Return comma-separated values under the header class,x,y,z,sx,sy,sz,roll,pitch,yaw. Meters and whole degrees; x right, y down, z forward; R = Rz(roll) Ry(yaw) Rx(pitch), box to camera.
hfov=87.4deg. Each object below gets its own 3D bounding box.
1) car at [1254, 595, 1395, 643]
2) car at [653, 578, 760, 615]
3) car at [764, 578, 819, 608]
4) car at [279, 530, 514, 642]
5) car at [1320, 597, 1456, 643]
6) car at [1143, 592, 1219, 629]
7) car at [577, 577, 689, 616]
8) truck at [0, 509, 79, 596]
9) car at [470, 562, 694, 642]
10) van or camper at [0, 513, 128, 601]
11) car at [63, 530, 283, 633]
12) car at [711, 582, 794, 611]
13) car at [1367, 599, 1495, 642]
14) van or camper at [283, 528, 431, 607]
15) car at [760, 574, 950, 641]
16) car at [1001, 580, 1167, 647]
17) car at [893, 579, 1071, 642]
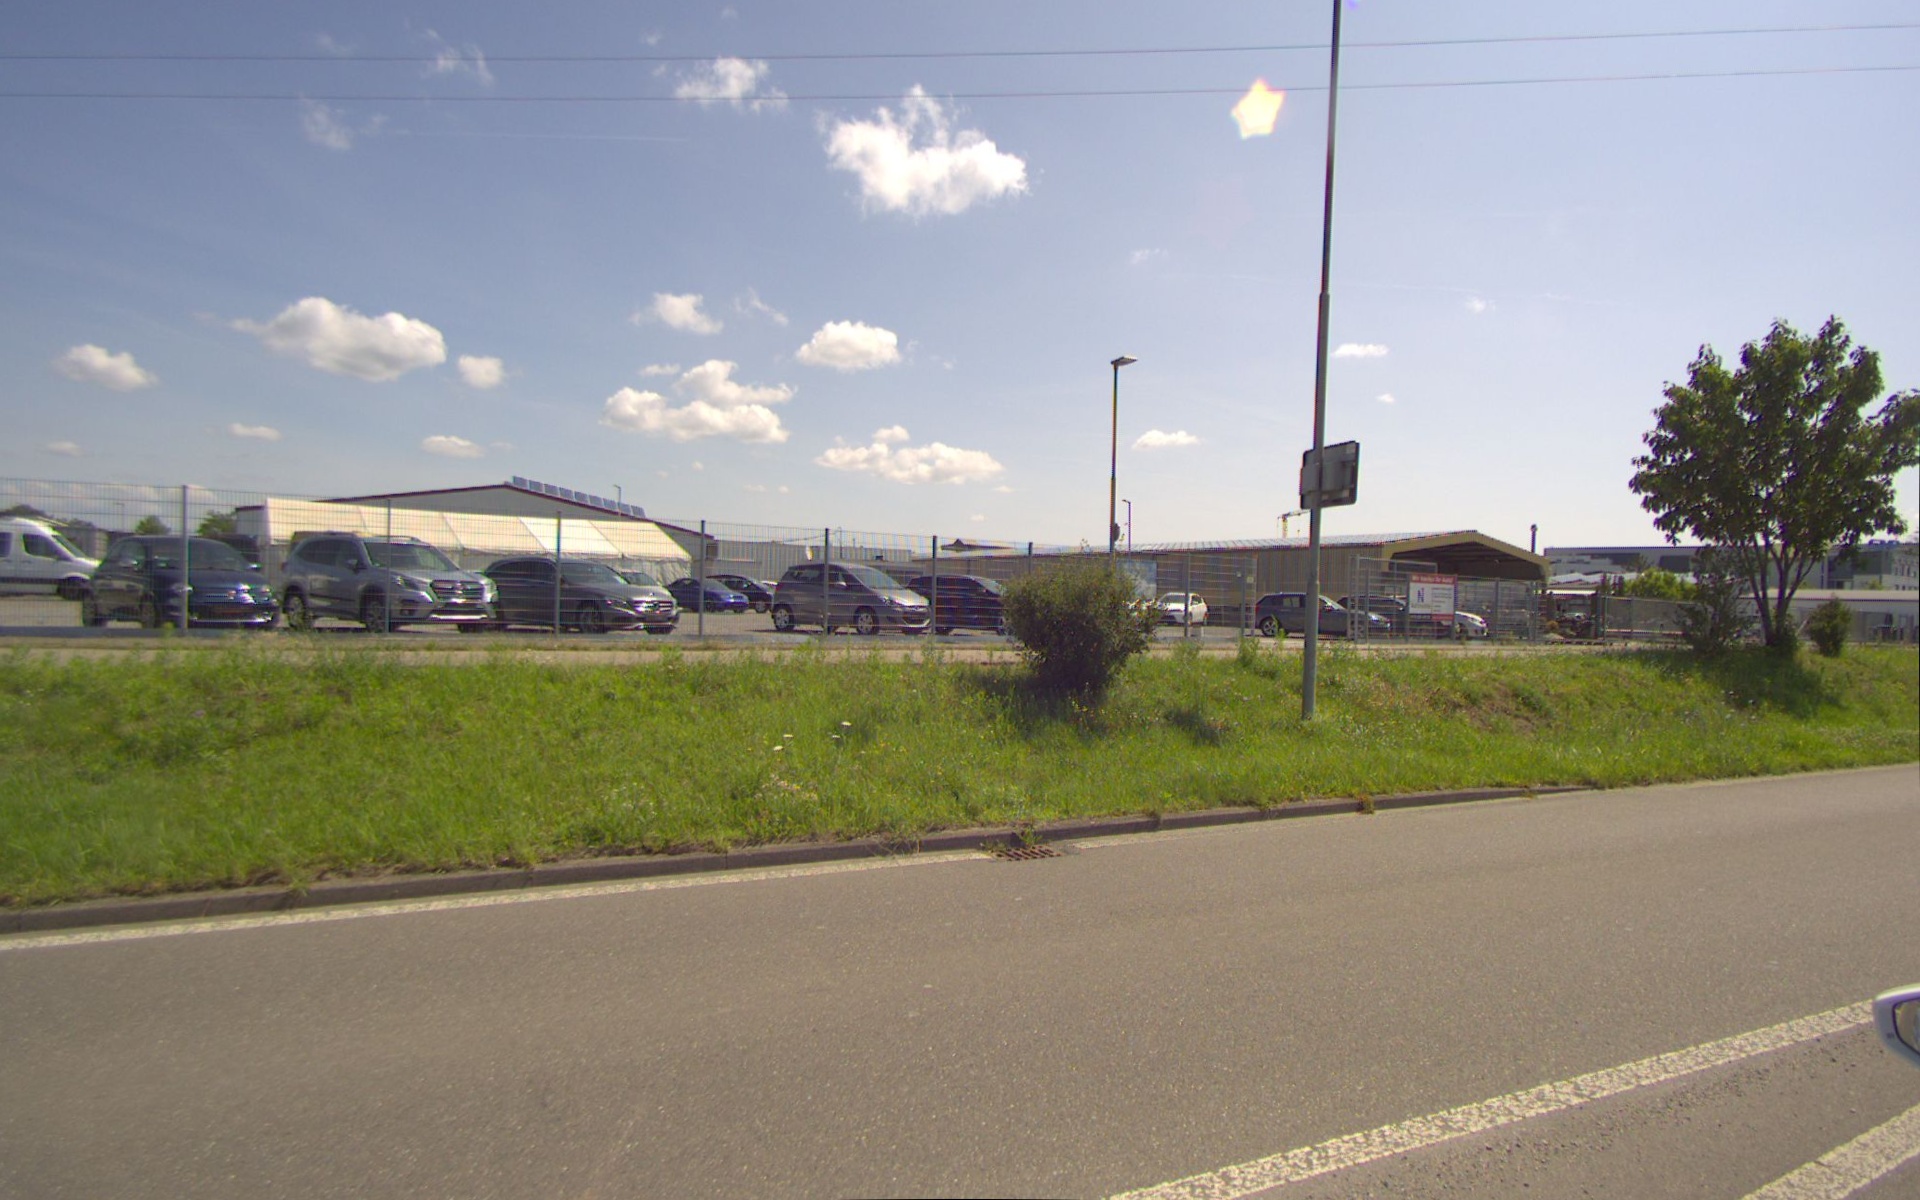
class,x,y,z,sx,sy,sz,roll,pitch,yaw
car,11.604,0.562,32.002,3.929,1.328,1.939,2,1,31
car,-10.188,-0.158,40.277,3.929,1.328,1.939,2,1,31
car,-10.128,-0.432,60.055,1.976,1.717,3.968,1,1,-30
car,-9.712,-0.283,17.263,4.036,1.727,1.720,2,1,31
car,14.253,0.633,33.471,3.929,1.328,1.939,2,1,31
car,9.821,0.454,44.368,1.965,1.506,4.238,2,1,32
car,-12.502,-0.148,38.364,3.929,1.328,1.939,2,1,31
truck,-53.162,-2.665,57.400,2.815,4.578,8.517,1,1,-32
car,-7.202,0.006,19.097,3.929,1.328,1.939,2,1,31
van or camper,-30.456,-1.382,31.278,6.693,2.634,1.983,1,1,-31
car,-12.333,-0.300,15.698,3.512,1.420,1.795,2,1,36
car,-11.227,-0.189,54.452,3.962,1.461,1.863,1,1,-37
car,16.664,0.683,35.576,3.929,1.328,1.939,2,1,31
van or camper,-19.838,-1.085,32.981,5.245,2.407,1.890,2,1,31
car,-2.408,0.137,22.903,3.929,1.328,1.939,2,1,31
car,3.283,0.318,26.761,3.929,1.561,1.939,2,1,31
car,0.521,0.223,24.671,3.931,1.328,1.938,2,1,32
